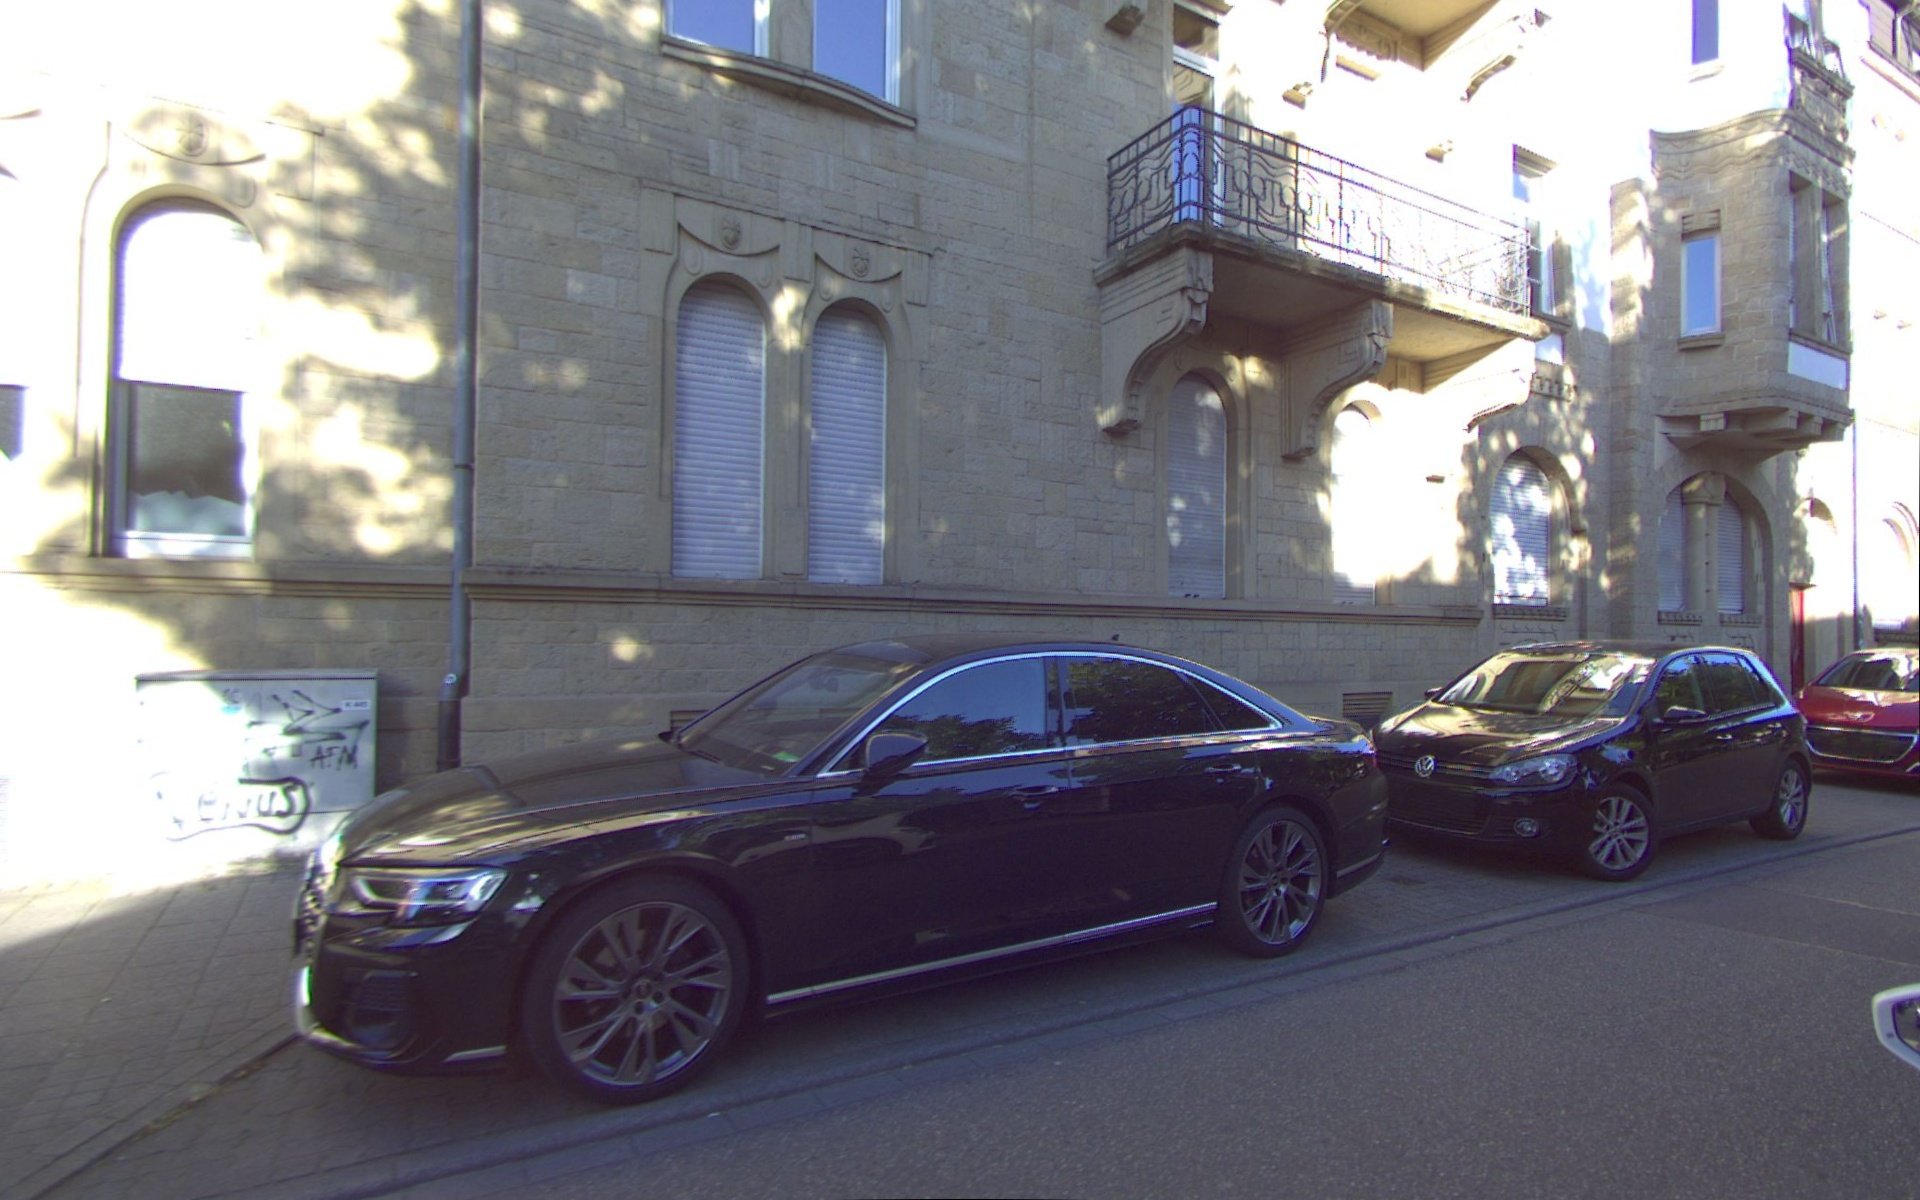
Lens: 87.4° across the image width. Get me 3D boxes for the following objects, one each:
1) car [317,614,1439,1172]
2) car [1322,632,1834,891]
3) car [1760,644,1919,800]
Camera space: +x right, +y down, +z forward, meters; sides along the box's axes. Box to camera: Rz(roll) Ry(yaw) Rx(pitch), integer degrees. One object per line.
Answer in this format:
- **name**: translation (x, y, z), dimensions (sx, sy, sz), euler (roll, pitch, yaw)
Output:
- **car**: translation (-0.076, 0.883, 4.728), dimensions (4.841, 1.446, 1.802), euler (2, 0, -31)
- **car**: translation (4.733, 1.028, 7.547), dimensions (3.983, 1.472, 1.687), euler (3, -2, -32)
- **car**: translation (10.730, 1.260, 11.268), dimensions (3.796, 1.472, 1.620), euler (2, -1, -33)
